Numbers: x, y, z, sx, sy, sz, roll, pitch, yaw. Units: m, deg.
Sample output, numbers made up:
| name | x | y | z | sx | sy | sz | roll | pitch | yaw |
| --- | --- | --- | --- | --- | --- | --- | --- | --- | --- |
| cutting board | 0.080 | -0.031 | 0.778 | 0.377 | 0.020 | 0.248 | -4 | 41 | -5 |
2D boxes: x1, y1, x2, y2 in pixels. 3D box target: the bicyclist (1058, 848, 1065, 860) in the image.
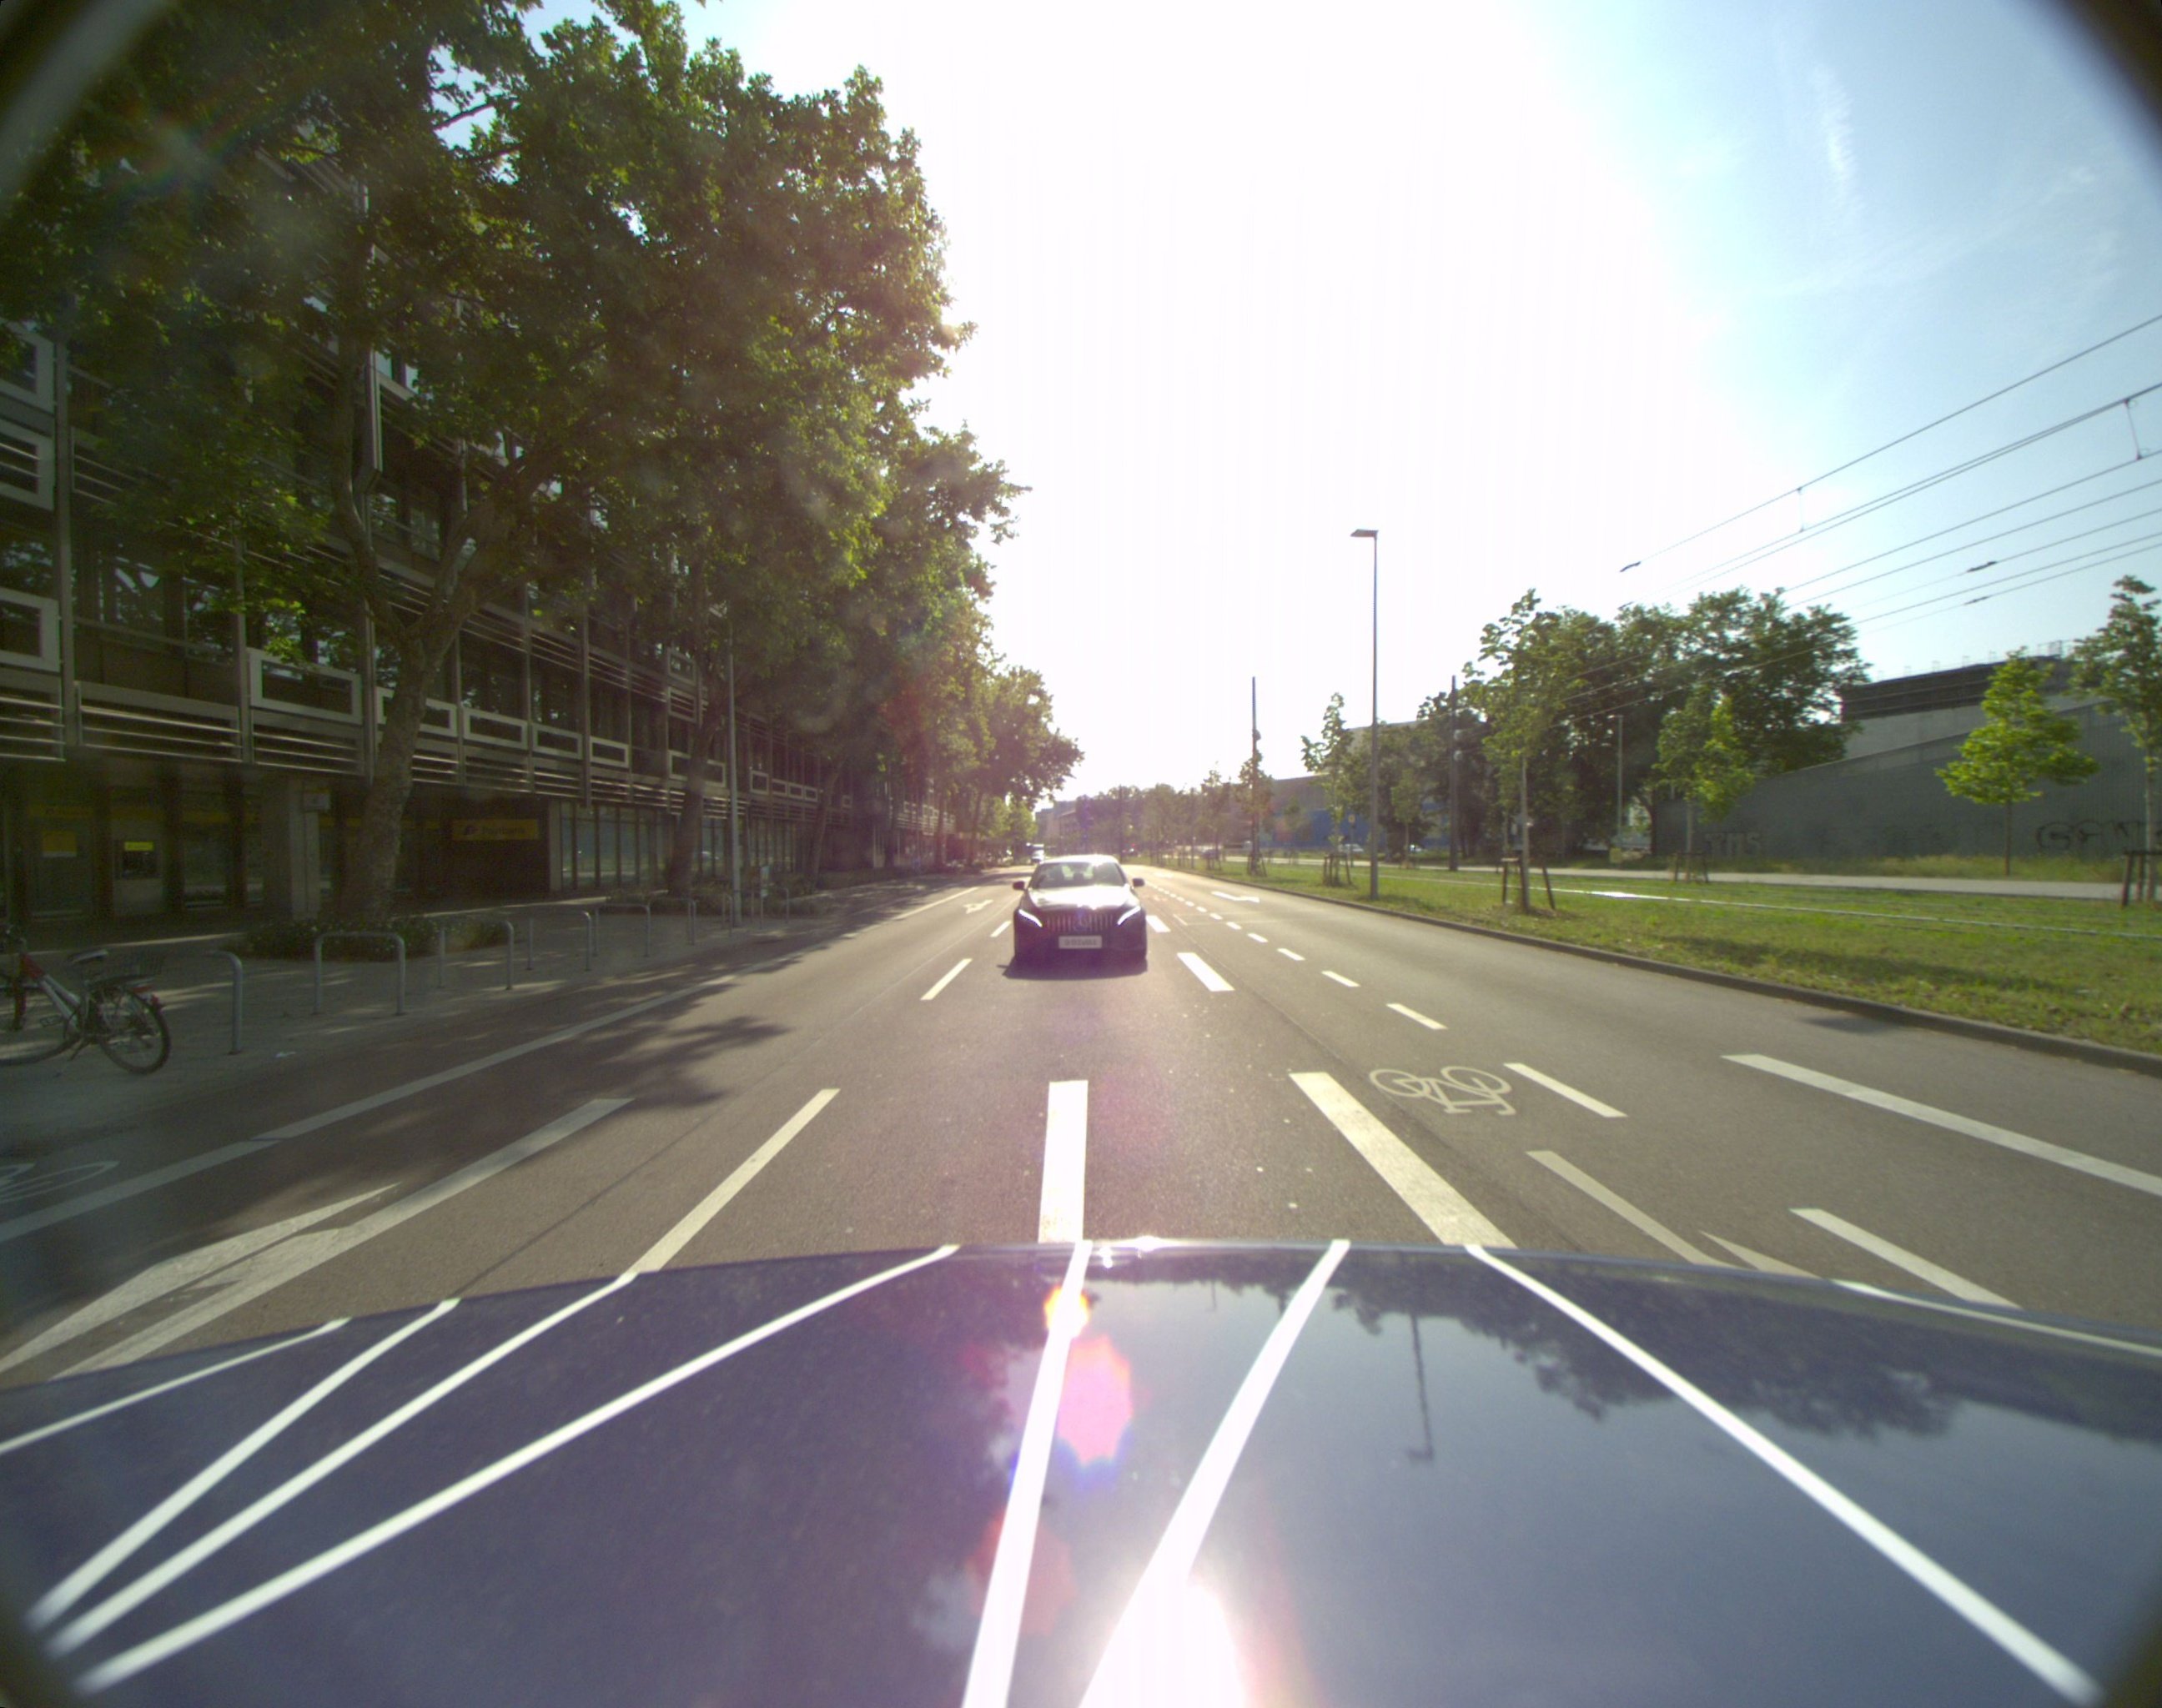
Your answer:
| name | x | y | z | sx | sy | sz | roll | pitch | yaw |
| --- | --- | --- | --- | --- | --- | --- | --- | --- | --- |
| bicyclist | -2.380 | 0.026 | 92.442 | 0.612 | 1.505 | 0.813 | -1 | 1 | -10 |

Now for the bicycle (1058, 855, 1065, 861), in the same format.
| name | x | y | z | sx | sy | sz | roll | pitch | yaw |
| --- | --- | --- | --- | --- | --- | --- | --- | --- | --- |
| bicycle | -2.354 | 0.448 | 92.285 | 0.630 | 0.702 | 1.807 | -1 | 0 | -9 |

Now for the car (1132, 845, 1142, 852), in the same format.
| name | x | y | z | sx | sy | sz | roll | pitch | yaw |
| --- | --- | --- | --- | --- | --- | --- | --- | --- | --- |
| car | 12.688 | -1.285 | 172.361 | 1.756 | 1.608 | 4.334 | -1 | 1 | 1 |

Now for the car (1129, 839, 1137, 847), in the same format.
| name | x | y | z | sx | sy | sz | roll | pitch | yaw |
| --- | --- | --- | --- | --- | --- | --- | --- | --- | --- |
| car | 13.910 | -2.907 | 202.908 | 1.756 | 1.968 | 3.771 | -1 | 1 | 1 |

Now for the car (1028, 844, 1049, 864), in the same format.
| name | x | y | z | sx | sy | sz | roll | pitch | yaw |
| --- | --- | --- | --- | --- | --- | --- | --- | --- | --- |
| car | -4.700 | -0.019 | 84.558 | 1.998 | 2.002 | 3.999 | -2 | 1 | 0 |

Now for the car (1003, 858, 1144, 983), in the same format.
| name | x | y | z | sx | sy | sz | roll | pitch | yaw |
| --- | --- | --- | --- | --- | --- | --- | --- | --- | --- |
| car | 0.014 | 0.836 | 11.898 | 1.716 | 1.429 | 5.057 | -1 | 1 | 2 |

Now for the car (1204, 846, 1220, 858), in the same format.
| name | x | y | z | sx | sy | sz | roll | pitch | yaw |
| --- | --- | --- | --- | --- | --- | --- | --- | --- | --- |
| car | 18.916 | -0.329 | 110.002 | 1.756 | 1.608 | 3.771 | -1 | 1 | 1 |

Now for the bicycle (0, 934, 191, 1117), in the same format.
| name | x | y | z | sx | sy | sz | roll | pitch | yaw |
| --- | --- | --- | --- | --- | --- | --- | --- | --- | --- |
| bicycle | -7.711 | 1.218 | 5.588 | 1.831 | 1.181 | 0.537 | 0 | 1 | 5 |

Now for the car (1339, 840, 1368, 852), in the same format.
| name | x | y | z | sx | sy | sz | roll | pitch | yaw |
| --- | --- | --- | --- | --- | --- | --- | --- | --- | --- |
| car | 40.095 | -1.153 | 111.972 | 2.019 | 1.758 | 4.819 | -1 | 1 | -8 |
